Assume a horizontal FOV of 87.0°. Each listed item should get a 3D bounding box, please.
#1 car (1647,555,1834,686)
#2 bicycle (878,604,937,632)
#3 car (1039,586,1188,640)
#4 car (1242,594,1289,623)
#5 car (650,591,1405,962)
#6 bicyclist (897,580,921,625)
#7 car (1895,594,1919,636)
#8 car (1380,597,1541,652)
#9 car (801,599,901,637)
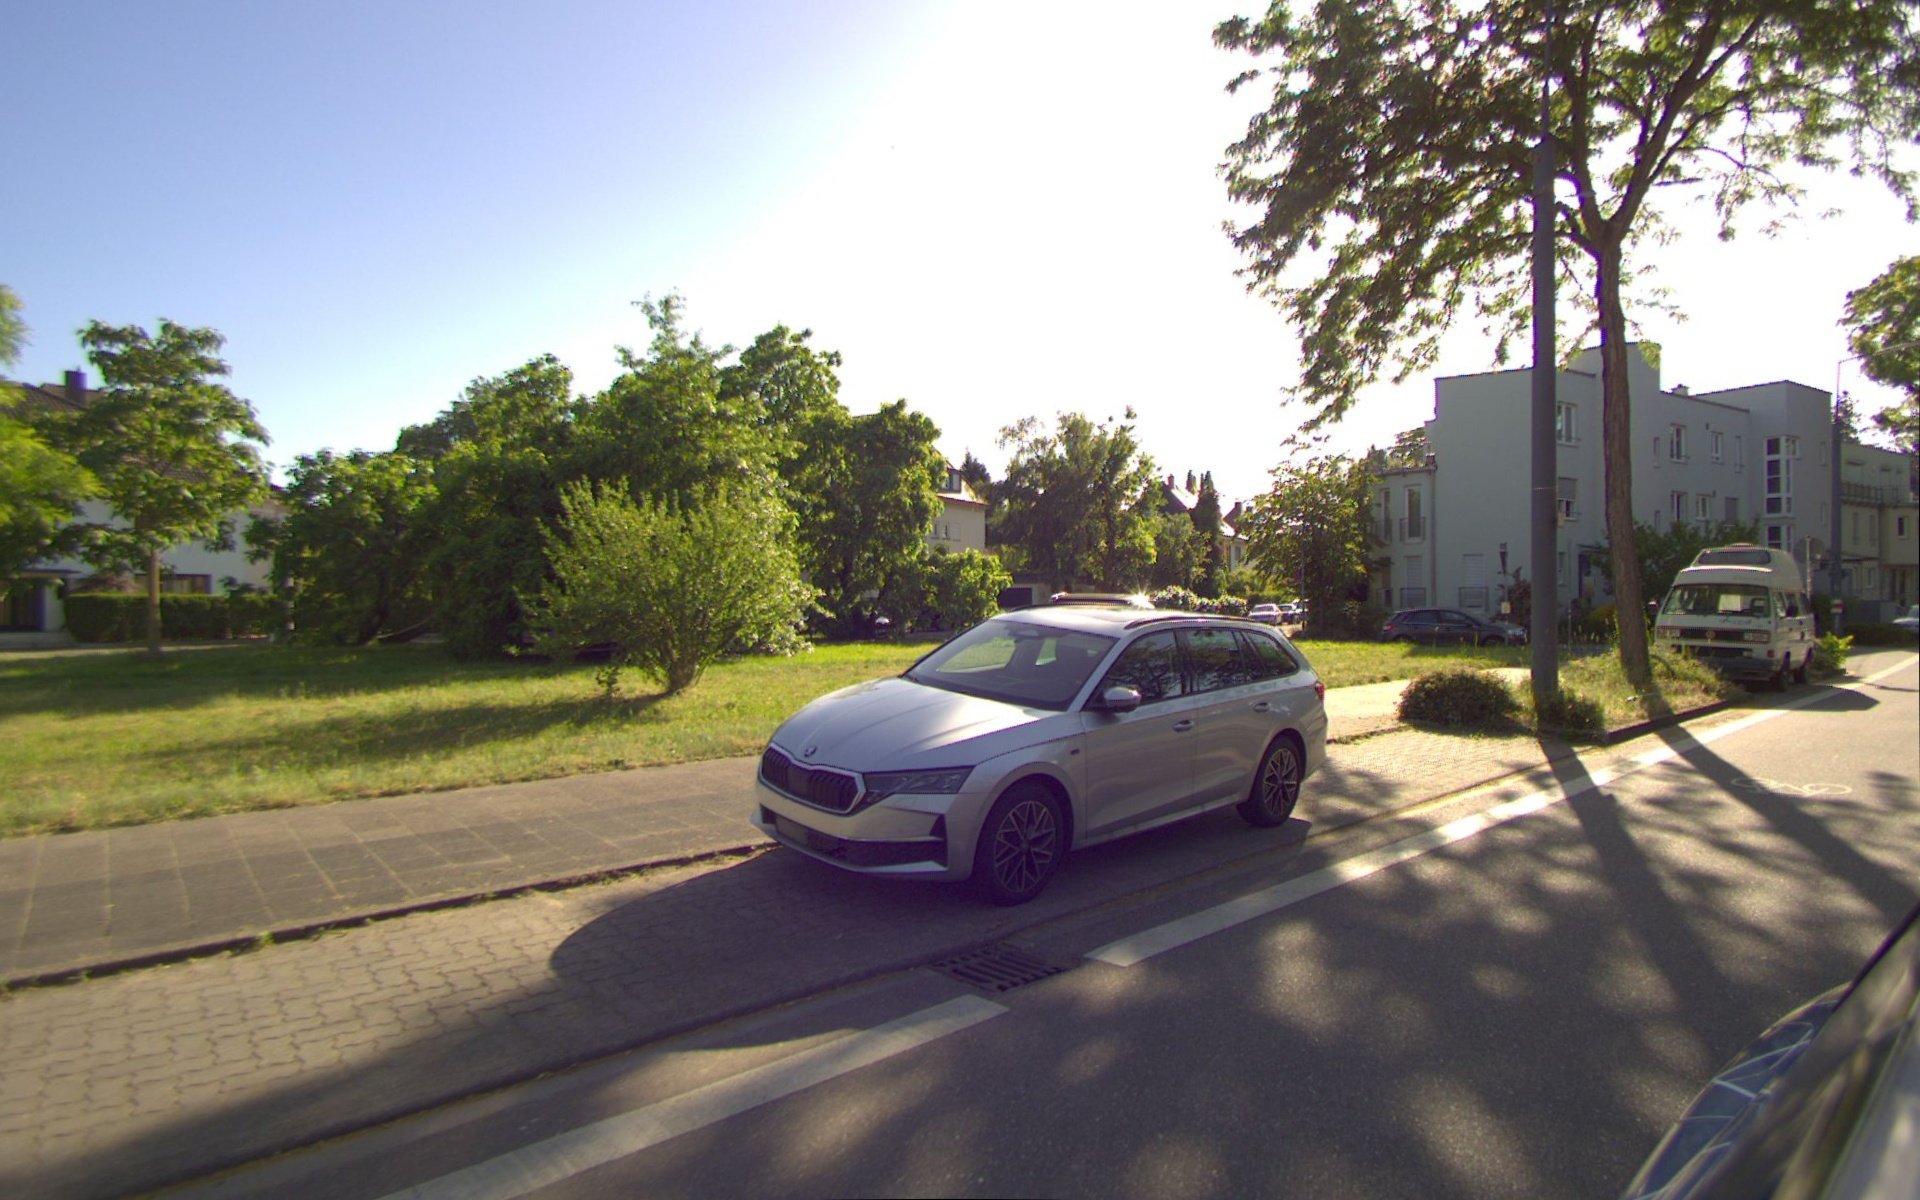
[{"bbox_3d":[14.480,0.323,18.678,4.636,2.122,1.996,0,0,-43],"label":"car"},{"bbox_3d":[-2.395,0.794,46.267,2.636,1.247,0.793,0,0,26],"label":"bicycle"},{"bbox_3d":[5.753,0.518,38.227,5.171,1.909,2.076,-1,-1,32],"label":"car"},{"bbox_3d":[19.810,0.504,65.591,1.984,1.788,4.224,0,0,31],"label":"car"},{"bbox_3d":[0.847,0.742,6.918,5.341,1.483,2.004,-1,4,-43],"label":"car"},{"bbox_3d":[-2.337,0.095,46.236,0.841,2.039,0.819,0,-1,25],"label":"bicyclist"},{"bbox_3d":[37.284,0.543,38.236,4.441,1.514,1.745,-1,0,-32],"label":"car"},{"bbox_3d":[15.871,0.723,32.151,4.427,1.508,1.988,0,4,32],"label":"car"},{"bbox_3d":[-4.861,0.758,44.974,4.201,1.613,1.975,0,0,35],"label":"car"}]
